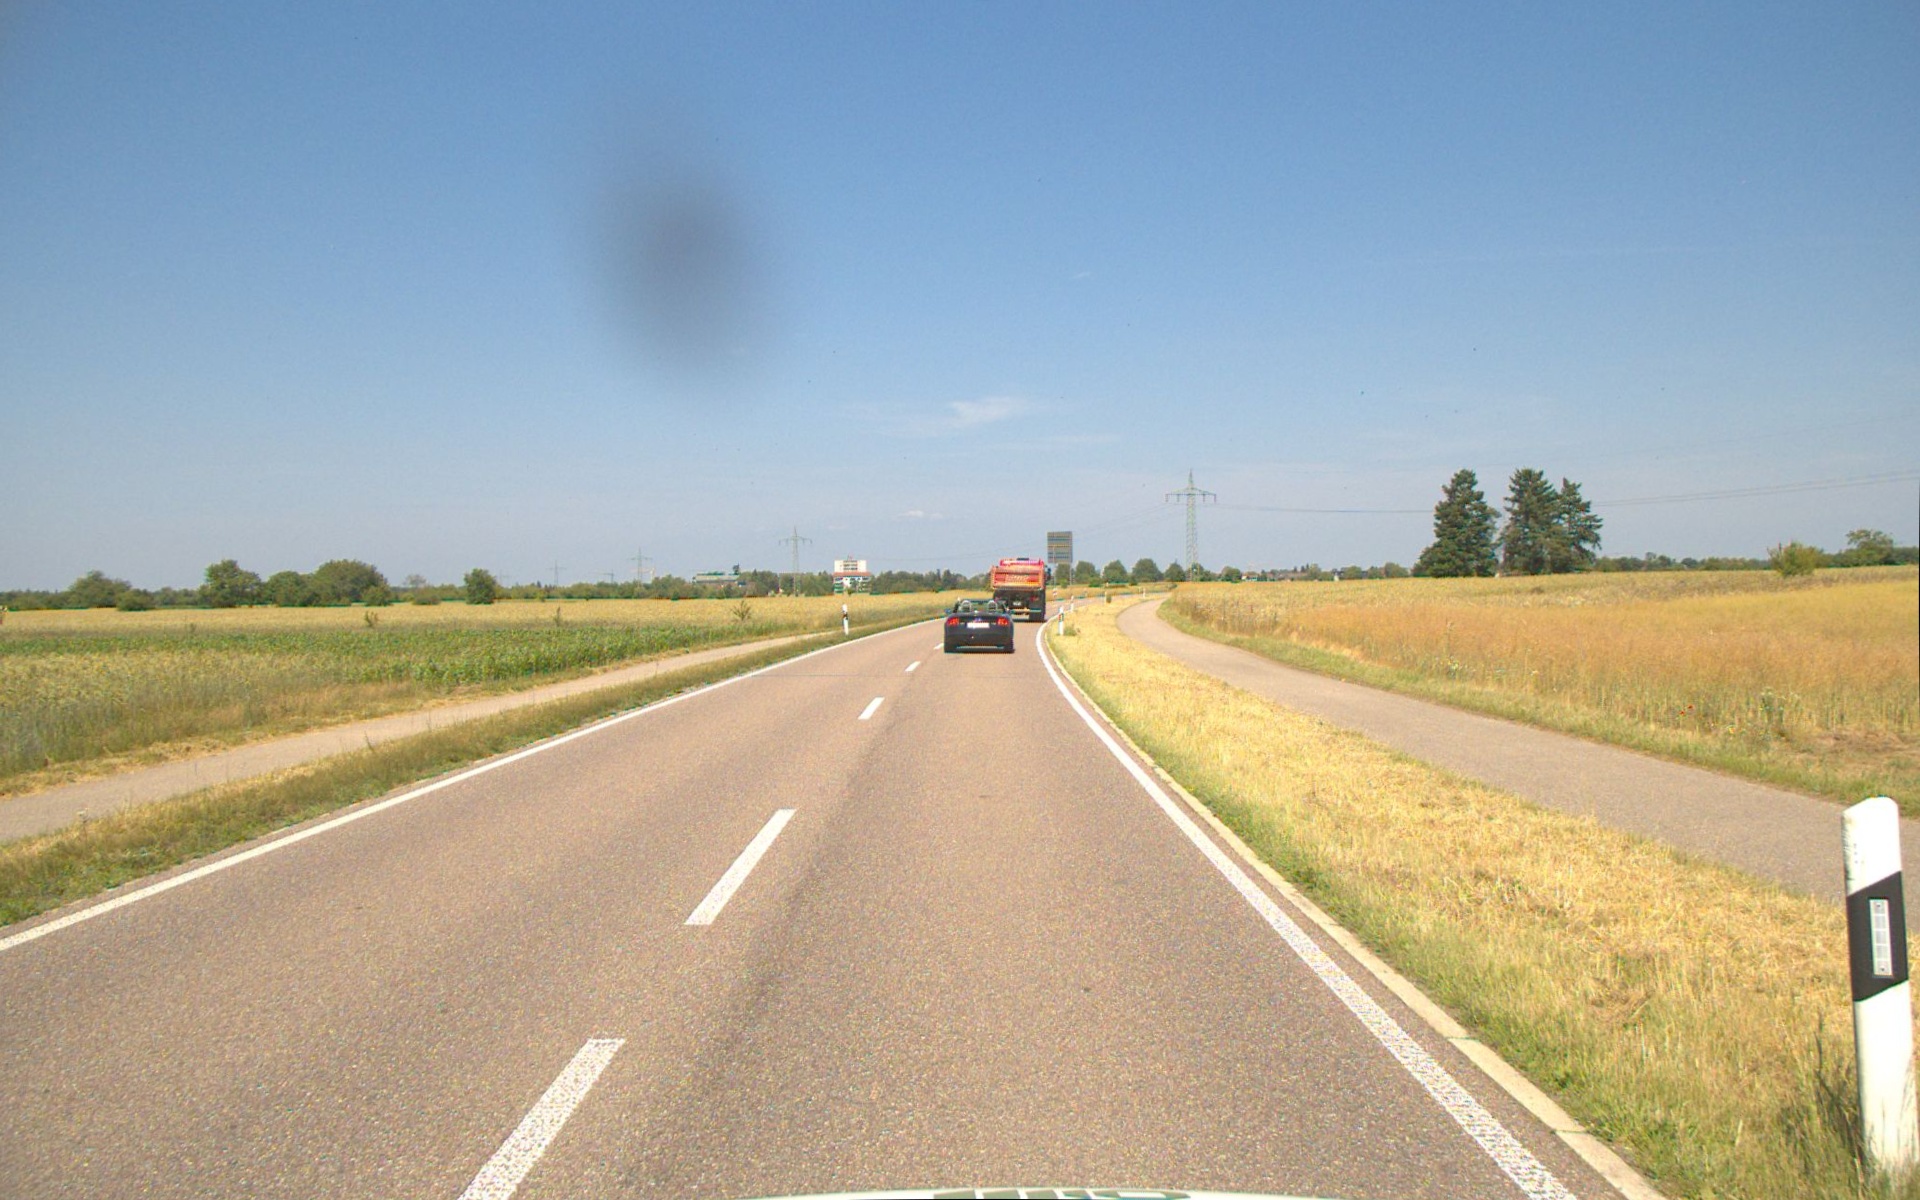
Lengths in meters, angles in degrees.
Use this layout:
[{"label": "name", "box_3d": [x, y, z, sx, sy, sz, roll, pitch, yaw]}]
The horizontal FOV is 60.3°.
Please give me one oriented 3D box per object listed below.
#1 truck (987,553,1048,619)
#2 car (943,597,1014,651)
[{"label": "truck", "box_3d": [2.858, -0.652, 82.170, 2.877, 3.143, 7.198, 0, 0, 2]}, {"label": "car", "box_3d": [0.514, 0.590, 41.898, 1.707, 1.302, 4.001, 0, 0, 2]}]
